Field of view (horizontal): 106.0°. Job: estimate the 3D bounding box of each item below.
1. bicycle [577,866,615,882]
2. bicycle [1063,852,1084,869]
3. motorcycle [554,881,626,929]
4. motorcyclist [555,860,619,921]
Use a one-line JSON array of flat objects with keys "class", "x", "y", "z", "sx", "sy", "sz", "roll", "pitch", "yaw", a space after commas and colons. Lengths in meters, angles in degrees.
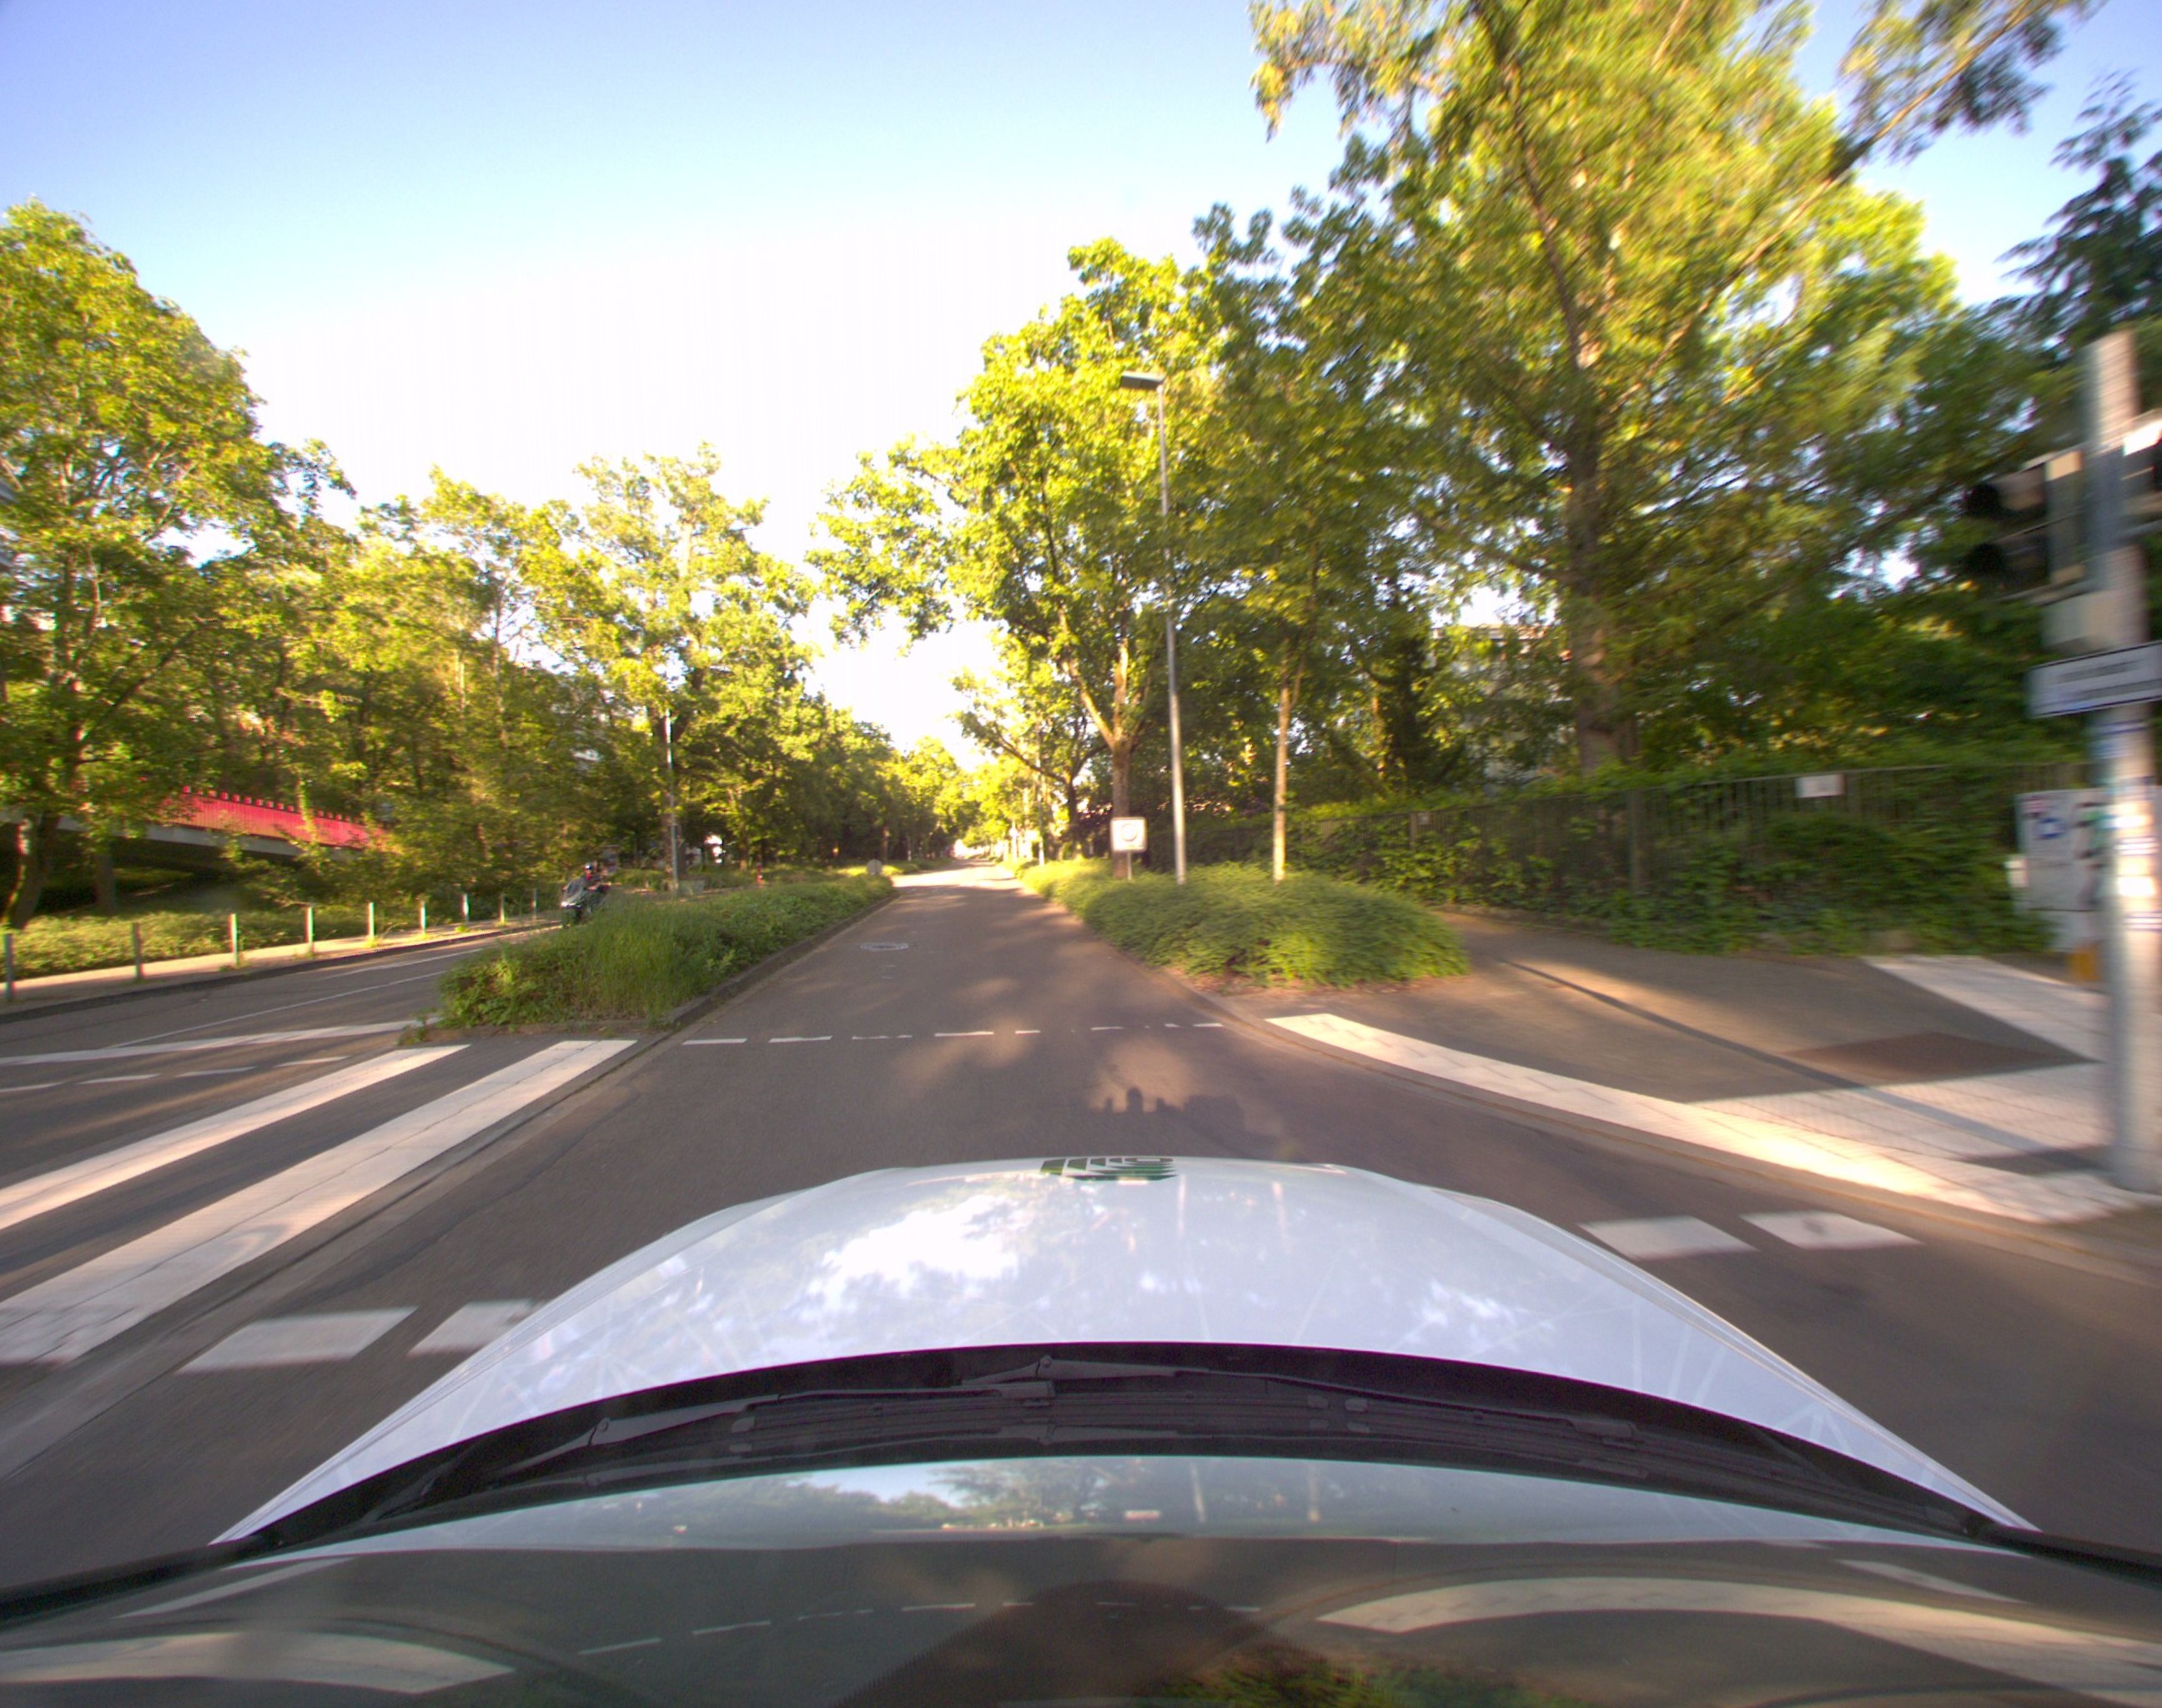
[{"class": "bicycle", "x": -36.348, "y": 1.512, "z": 61.071, "sx": 0.530, "sy": 1.071, "sz": 2.445, "roll": 1, "pitch": 2, "yaw": 32}, {"class": "bicycle", "x": -0.561, "y": 0.500, "z": 63.932, "sx": 0.876, "sy": 1.200, "sz": 2.337, "roll": -4, "pitch": 0, "yaw": 18}, {"class": "motorcycle", "x": -12.695, "y": 1.288, "z": 21.146, "sx": 0.521, "sy": 1.068, "sz": 2.285, "roll": -3, "pitch": 0, "yaw": -3}, {"class": "motorcyclist", "x": -12.747, "y": 0.924, "z": 21.039, "sx": 0.946, "sy": 1.470, "sz": 1.069, "roll": -3, "pitch": 0, "yaw": -3}]
